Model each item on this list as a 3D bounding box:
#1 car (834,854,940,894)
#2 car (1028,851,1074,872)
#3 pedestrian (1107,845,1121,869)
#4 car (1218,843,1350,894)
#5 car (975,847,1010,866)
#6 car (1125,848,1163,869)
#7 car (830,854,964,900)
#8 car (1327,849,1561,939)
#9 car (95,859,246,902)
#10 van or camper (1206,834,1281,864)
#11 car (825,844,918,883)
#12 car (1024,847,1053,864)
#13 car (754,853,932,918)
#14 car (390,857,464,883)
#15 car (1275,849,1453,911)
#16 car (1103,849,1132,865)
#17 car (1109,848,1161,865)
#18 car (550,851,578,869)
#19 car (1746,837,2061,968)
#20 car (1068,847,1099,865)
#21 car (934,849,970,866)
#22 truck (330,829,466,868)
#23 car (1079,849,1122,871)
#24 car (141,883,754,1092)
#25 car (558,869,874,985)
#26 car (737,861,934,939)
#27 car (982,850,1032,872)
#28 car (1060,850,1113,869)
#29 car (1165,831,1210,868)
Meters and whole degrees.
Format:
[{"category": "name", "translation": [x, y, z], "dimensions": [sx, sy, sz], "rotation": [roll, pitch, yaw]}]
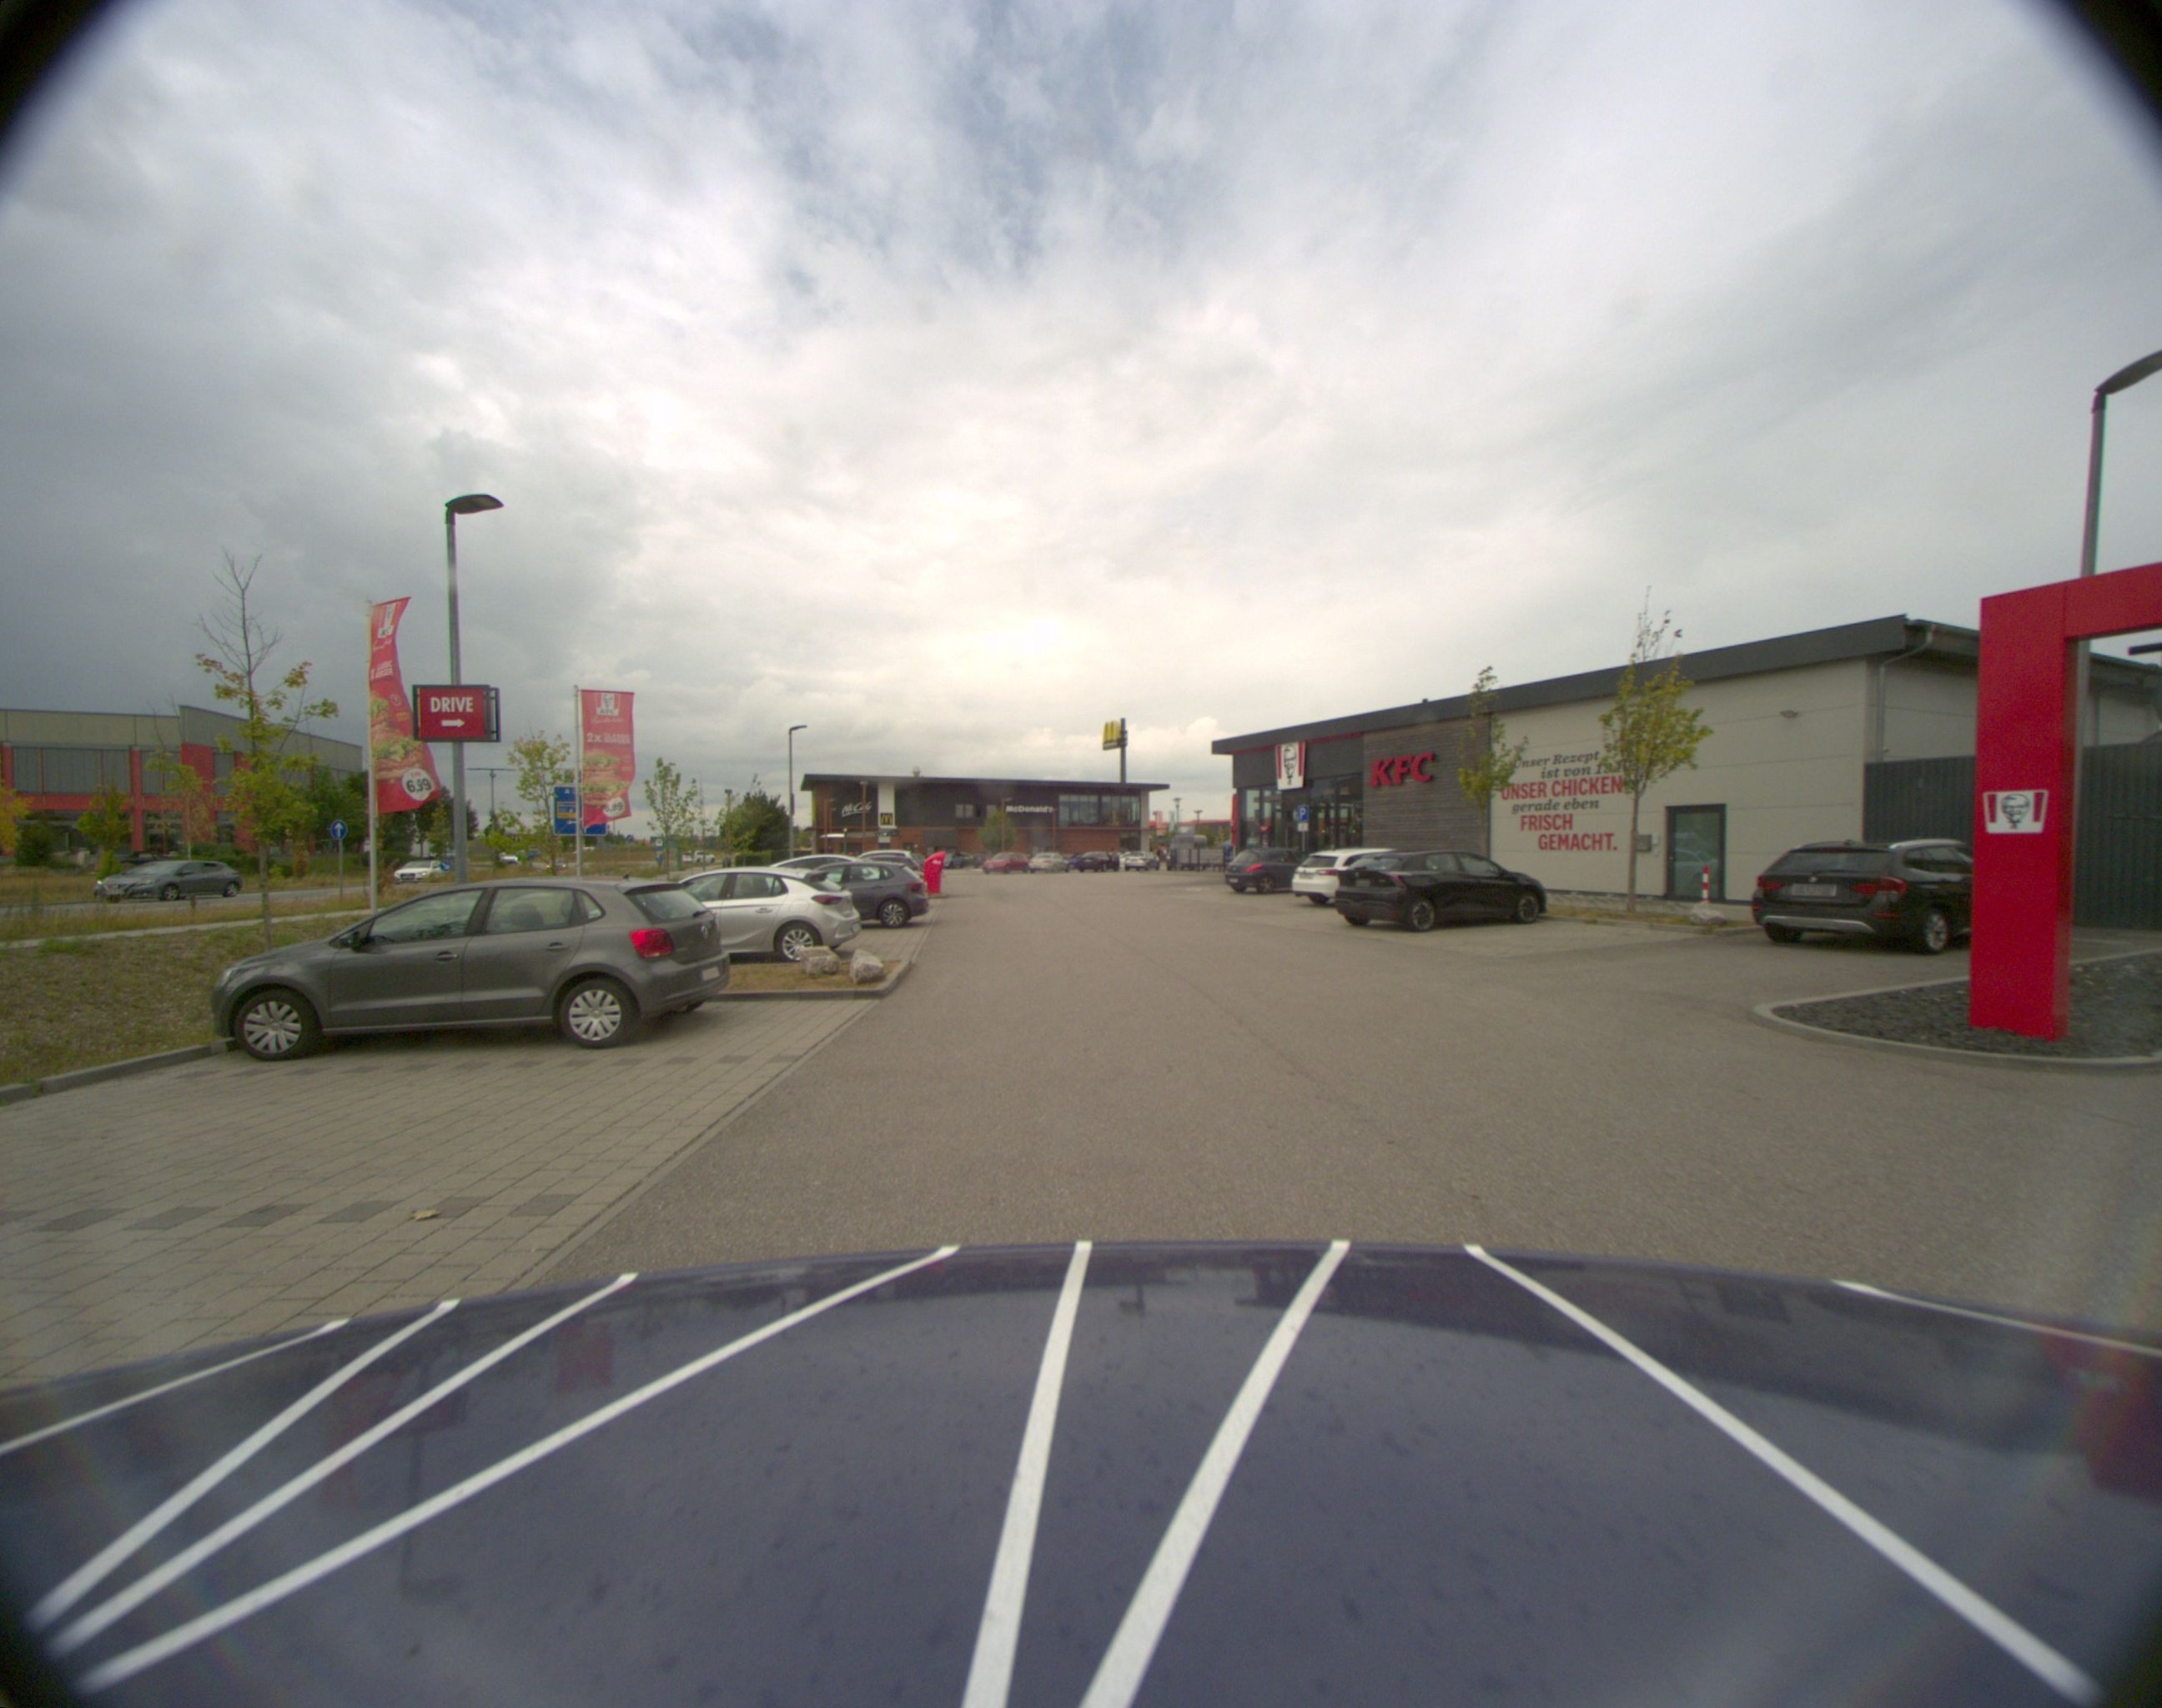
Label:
[{"category": "car", "translation": [-8.060, 0.791, 31.571], "dimensions": [4.073, 1.404, 1.885], "rotation": [-3, 1, -17]}, {"category": "car", "translation": [-2.038, 0.491, 53.151], "dimensions": [1.750, 1.404, 4.466], "rotation": [-1, 0, 18]}, {"category": "pedestrian", "translation": [2.343, 0.189, 53.843], "dimensions": [0.747, 1.668, 0.844], "rotation": [1, 1, 22]}, {"category": "car", "translation": [6.788, 0.440, 25.489], "dimensions": [3.943, 1.478, 1.755], "rotation": [-3, 1, -20]}, {"category": "car", "translation": [-8.510, 0.270, 73.718], "dimensions": [1.996, 1.739, 4.005], "rotation": [1, -1, 15]}, {"category": "car", "translation": [4.723, 0.332, 56.532], "dimensions": [1.683, 1.443, 4.006], "rotation": [-1, 0, 22]}, {"category": "car", "translation": [-7.004, 0.831, 28.946], "dimensions": [4.745, 1.448, 1.908], "rotation": [-3, 1, -17]}, {"category": "car", "translation": [7.043, 0.692, 14.766], "dimensions": [4.127, 1.519, 1.738], "rotation": [-1, 1, -21]}, {"category": "car", "translation": [-34.641, 0.974, 29.088], "dimensions": [1.756, 1.482, 4.124], "rotation": [-1, -1, -18]}, {"category": "van or camper", "translation": [15.380, -0.445, 71.884], "dimensions": [6.557, 2.685, 2.176], "rotation": [-1, 0, 27]}, {"category": "car", "translation": [-10.666, 0.457, 38.725], "dimensions": [4.375, 1.703, 1.989], "rotation": [-3, 1, -17]}, {"category": "car", "translation": [-4.568, 0.133, 80.810], "dimensions": [1.755, 1.743, 3.991], "rotation": [1, 1, -23]}, {"category": "car", "translation": [-6.611, 0.830, 21.619], "dimensions": [4.546, 1.532, 1.923], "rotation": [-2, 1, -11]}, {"category": "car", "translation": [-39.970, 0.964, 46.568], "dimensions": [1.756, 1.482, 4.125], "rotation": [-1, -1, -13]}, {"category": "car", "translation": [7.543, 0.619, 20.299], "dimensions": [4.183, 1.477, 1.996], "rotation": [-1, 1, -20]}, {"category": "car", "translation": [3.849, 0.316, 79.496], "dimensions": [1.786, 1.478, 4.005], "rotation": [2, 3, 23]}, {"category": "car", "translation": [4.633, 0.235, 65.351], "dimensions": [4.102, 1.458, 1.783], "rotation": [0, -1, 19]}, {"category": "car", "translation": [-53.710, 0.597, 79.004], "dimensions": [2.003, 1.696, 3.990], "rotation": [0, 2, -27]}, {"category": "car", "translation": [11.955, 0.584, 11.061], "dimensions": [4.004, 1.587, 1.733], "rotation": [-1, 2, -21]}, {"category": "car", "translation": [0.311, 0.164, 77.101], "dimensions": [1.894, 1.653, 4.263], "rotation": [1, 3, 19]}, {"category": "car", "translation": [-12.337, 0.289, 72.727], "dimensions": [1.746, 1.575, 3.910], "rotation": [1, 1, 18]}, {"category": "truck", "translation": [-83.481, -0.630, 93.149], "dimensions": [12.004, 4.473, 3.762], "rotation": [1, 1, -15]}, {"category": "car", "translation": [1.442, 0.426, 54.571], "dimensions": [1.683, 1.454, 4.414], "rotation": [-1, 0, 21]}, {"category": "car", "translation": [-5.371, 1.085, 6.911], "dimensions": [3.998, 1.420, 1.727], "rotation": [-2, 1, -3]}, {"category": "car", "translation": [-5.404, 1.044, 11.733], "dimensions": [3.938, 1.404, 1.838], "rotation": [-2, 1, -5]}, {"category": "car", "translation": [-5.215, 0.954, 16.604], "dimensions": [3.808, 1.404, 1.737], "rotation": [-2, 1, -9]}, {"category": "car", "translation": [-5.051, 0.455, 52.298], "dimensions": [1.683, 1.455, 4.006], "rotation": [-1, 0, 22]}, {"category": "car", "translation": [0.459, 0.422, 63.552], "dimensions": [3.990, 1.501, 1.772], "rotation": [1, 1, 23]}, {"category": "car", "translation": [8.011, -0.294, 56.471], "dimensions": [2.069, 2.538, 7.023], "rotation": [-1, 0, 18]}]
